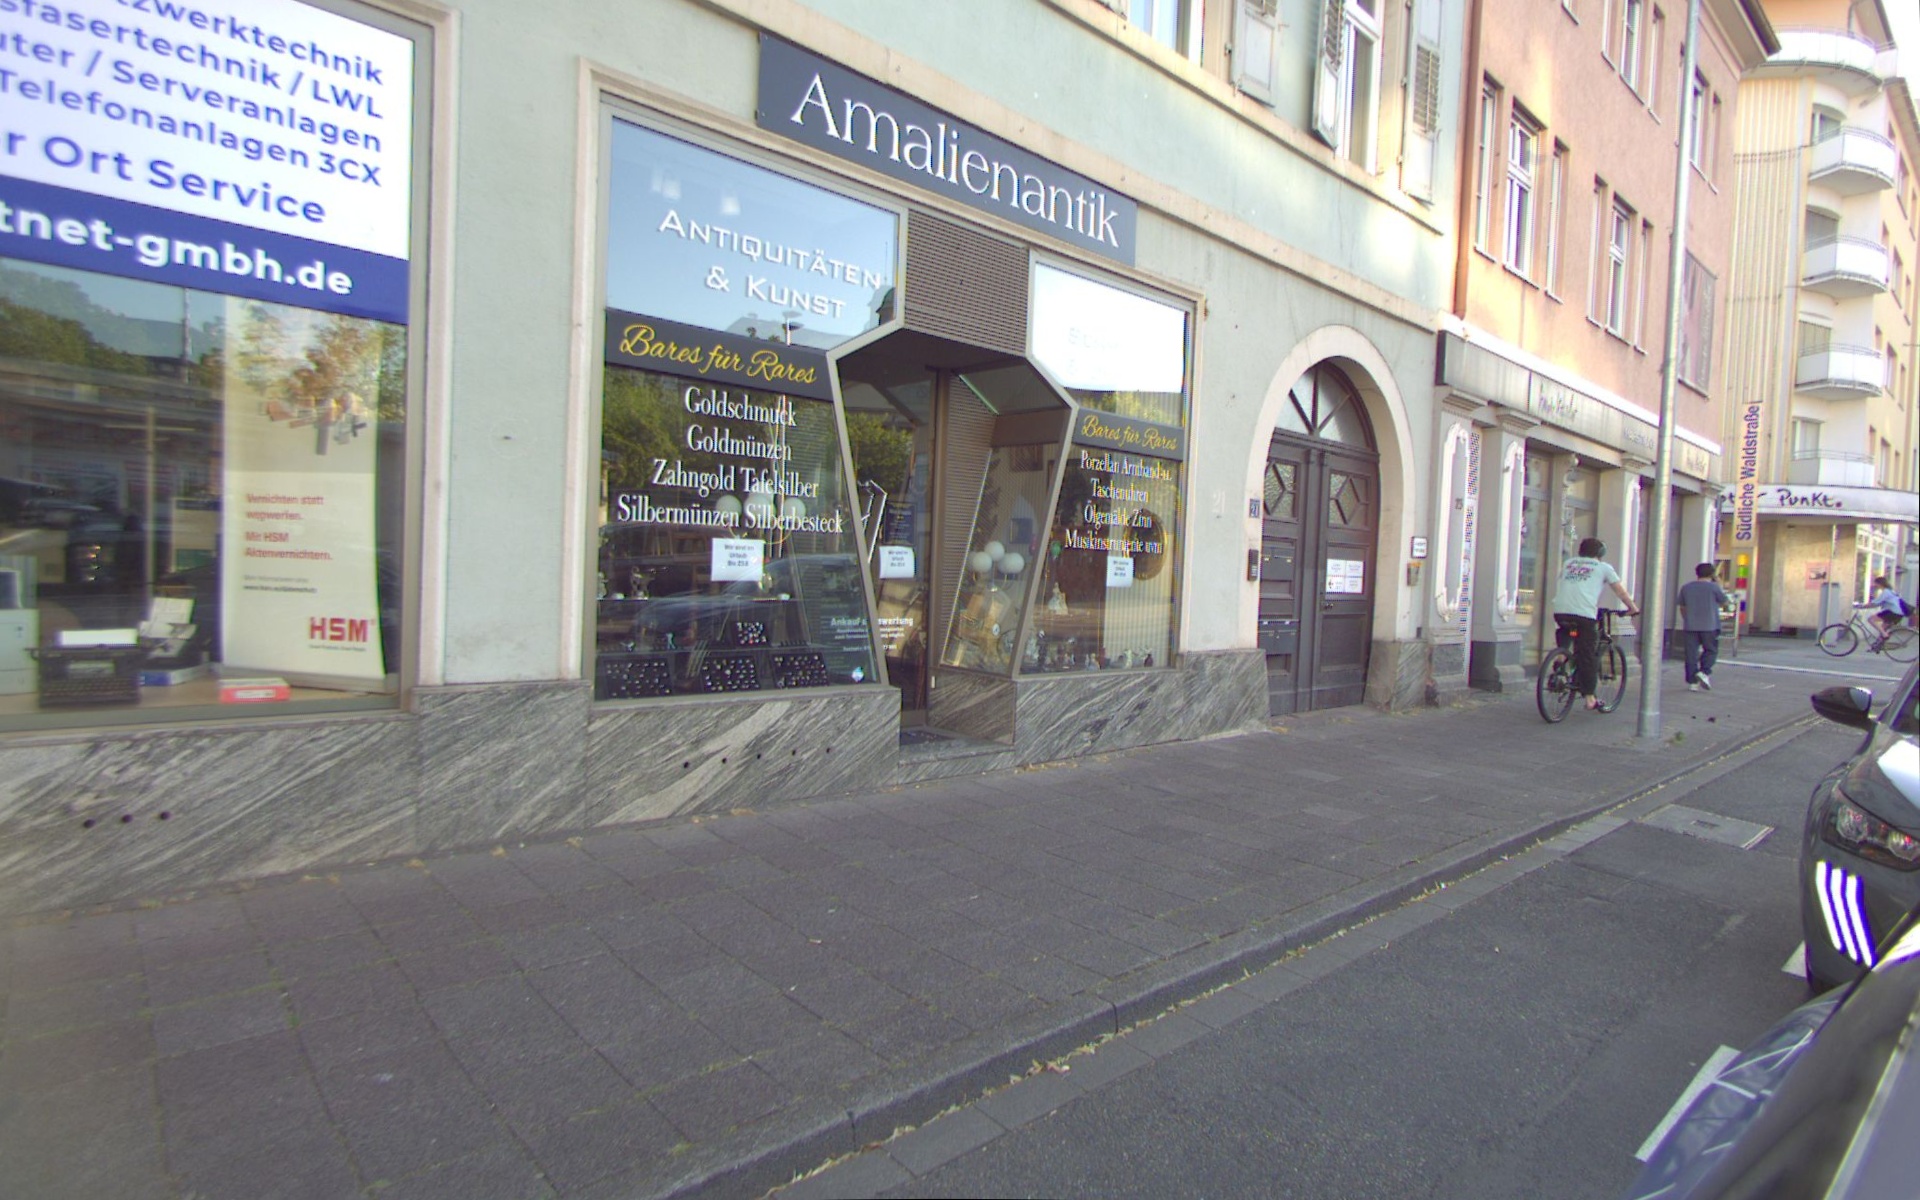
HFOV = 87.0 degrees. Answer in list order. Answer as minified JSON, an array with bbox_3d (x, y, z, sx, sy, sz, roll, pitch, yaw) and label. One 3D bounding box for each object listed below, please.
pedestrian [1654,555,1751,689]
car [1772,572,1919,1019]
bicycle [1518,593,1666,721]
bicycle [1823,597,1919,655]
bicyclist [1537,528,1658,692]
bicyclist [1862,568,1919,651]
[{"bbox_3d":[9.745,0.269,13.283,0.857,1.662,0.824,0,3,-43],"label":"pedestrian"},{"bbox_3d":[5.161,0.667,4.385,4.374,1.464,1.906,0,2,-43],"label":"car"},{"bbox_3d":[6.257,0.512,9.977,1.863,1.121,0.691,0,2,-42],"label":"bicycle"},{"bbox_3d":[20.131,0.558,22.008,0.690,1.131,1.926,1,2,-24],"label":"bicycle"},{"bbox_3d":[6.291,0.075,9.992,0.884,1.526,0.723,1,2,-40],"label":"bicyclist"},{"bbox_3d":[20.194,0.198,21.814,0.838,1.745,0.780,1,2,-26],"label":"bicyclist"}]
